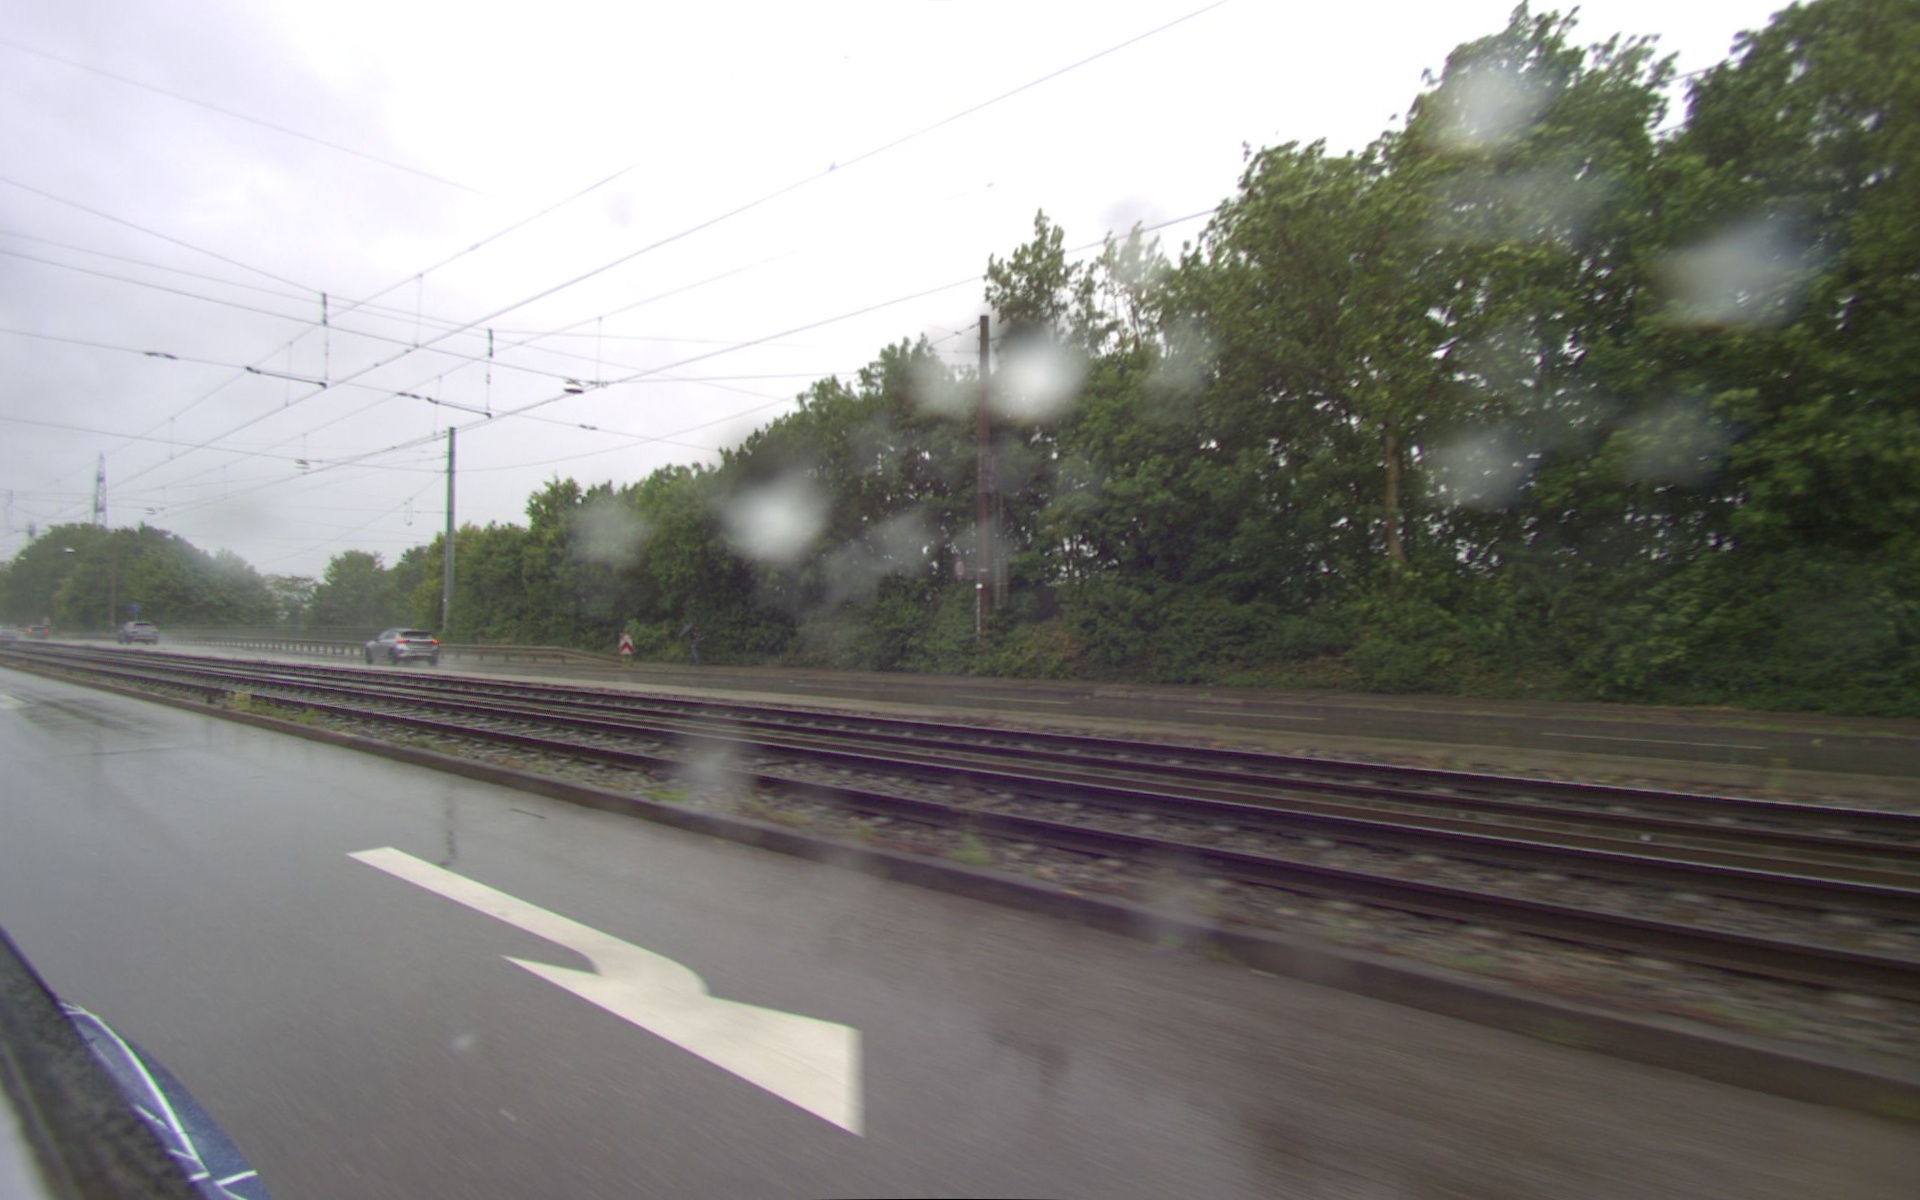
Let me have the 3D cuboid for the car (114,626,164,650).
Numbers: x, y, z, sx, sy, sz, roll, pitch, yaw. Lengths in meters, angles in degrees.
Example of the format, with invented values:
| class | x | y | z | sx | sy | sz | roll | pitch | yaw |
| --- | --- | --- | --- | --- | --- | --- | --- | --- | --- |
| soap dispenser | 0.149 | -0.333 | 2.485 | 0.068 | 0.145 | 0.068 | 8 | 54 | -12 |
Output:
| class | x | y | z | sx | sy | sz | roll | pitch | yaw |
| --- | --- | --- | --- | --- | --- | --- | --- | --- | --- |
| car | -60.078 | 2.783 | 74.002 | 4.868 | 1.685 | 1.973 | -2 | -2 | 40 |

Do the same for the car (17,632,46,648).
| class | x | y | z | sx | sy | sz | roll | pitch | yaw |
| --- | --- | --- | --- | --- | --- | --- | --- | --- | --- |
| car | -98.472 | 4.190 | 107.318 | 4.383 | 1.586 | 1.821 | -1 | -2 | 41 |

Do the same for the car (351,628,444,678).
| class | x | y | z | sx | sy | sz | roll | pitch | yaw |
| --- | --- | --- | --- | --- | --- | --- | --- | --- | --- |
| car | -22.944 | 2.130 | 41.236 | 3.997 | 1.796 | 1.974 | -2 | 2 | 41 |

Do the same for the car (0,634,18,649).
| class | x | y | z | sx | sy | sz | roll | pitch | yaw |
| --- | --- | --- | --- | --- | --- | --- | --- | --- | --- |
| car | -95.829 | 4.151 | 101.081 | 4.849 | 1.399 | 1.973 | -2 | -2 | 40 |
